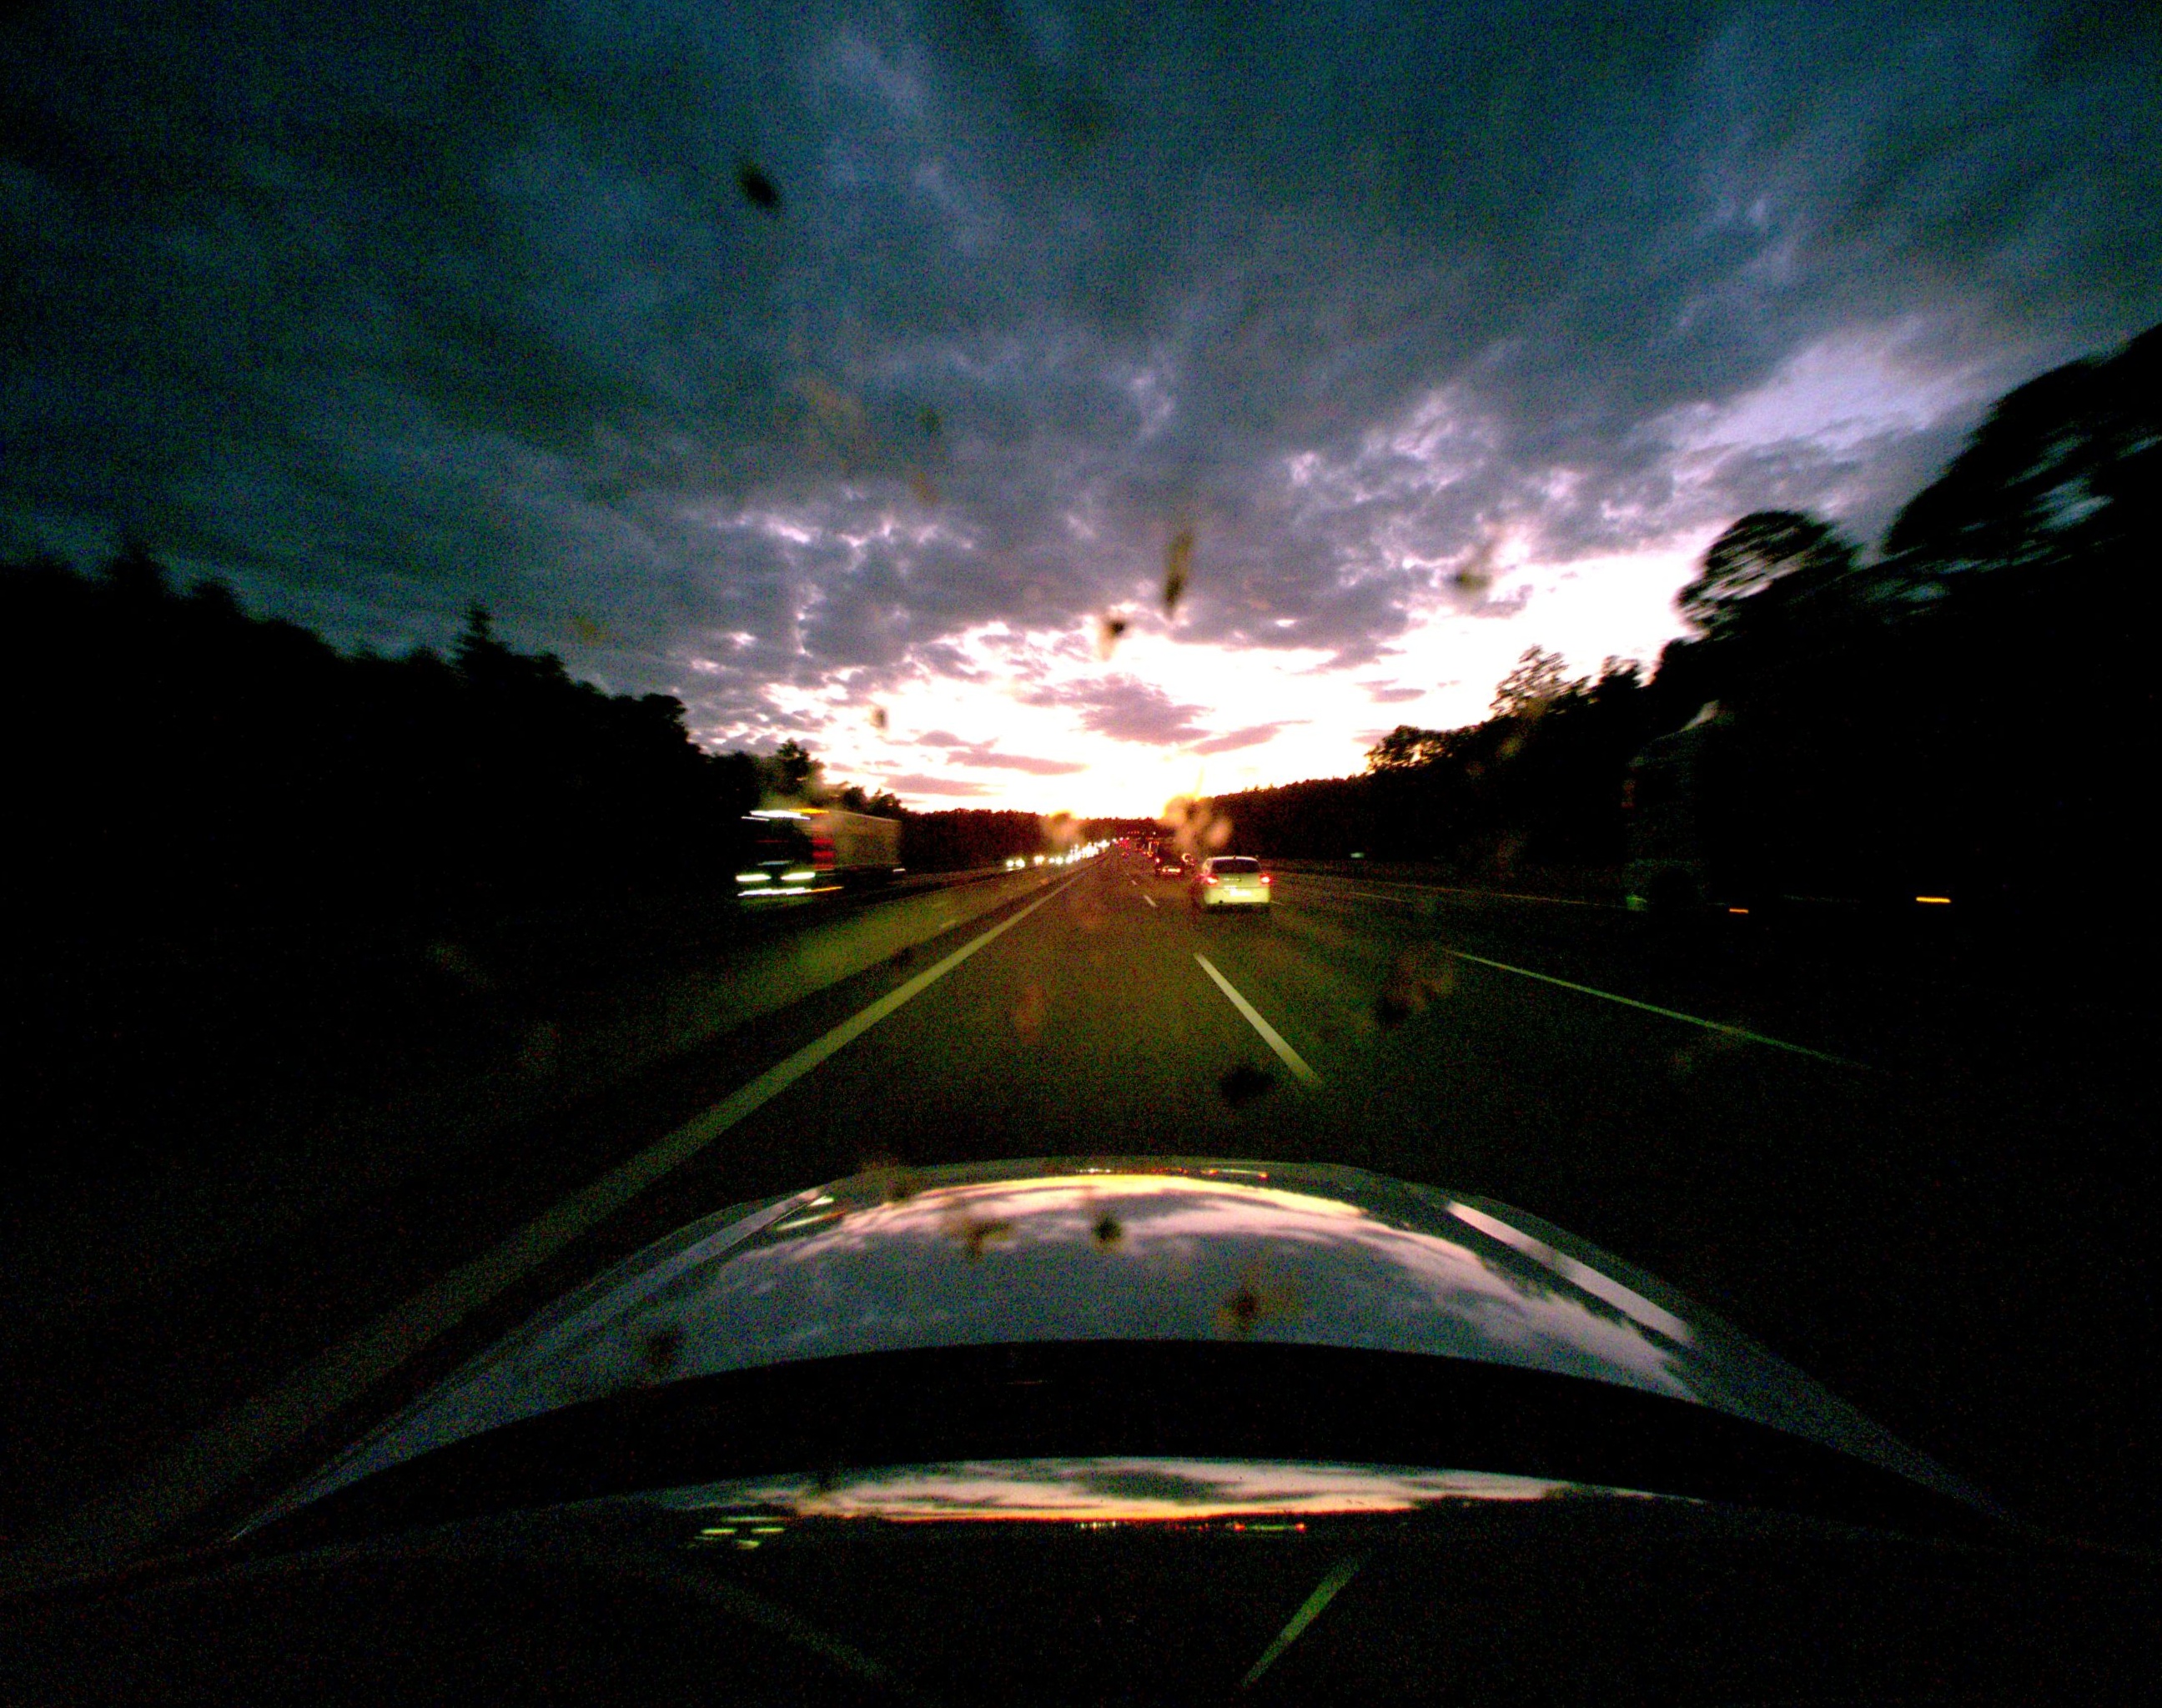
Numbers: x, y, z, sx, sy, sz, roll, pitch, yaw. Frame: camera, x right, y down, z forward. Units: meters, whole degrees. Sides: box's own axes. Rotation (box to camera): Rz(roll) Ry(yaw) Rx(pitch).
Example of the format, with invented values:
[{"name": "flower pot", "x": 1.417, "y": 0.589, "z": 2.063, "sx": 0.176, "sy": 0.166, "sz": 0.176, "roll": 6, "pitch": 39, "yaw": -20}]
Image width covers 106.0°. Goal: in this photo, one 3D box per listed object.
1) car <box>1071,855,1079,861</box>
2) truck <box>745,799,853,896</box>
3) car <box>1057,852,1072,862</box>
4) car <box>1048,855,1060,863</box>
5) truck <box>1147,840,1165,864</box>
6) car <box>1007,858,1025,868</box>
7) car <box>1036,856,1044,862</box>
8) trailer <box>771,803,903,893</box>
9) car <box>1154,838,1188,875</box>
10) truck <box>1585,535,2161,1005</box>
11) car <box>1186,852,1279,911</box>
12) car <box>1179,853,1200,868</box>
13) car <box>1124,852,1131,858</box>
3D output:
[{"name": "car", "x": -1.523, "y": 0.990, "z": 214.944, "sx": 1.829, "sy": 1.438, "sz": 4.003, "roll": -2, "pitch": 0, "yaw": 3}, {"name": "truck", "x": -13.046, "y": -0.267, "z": 38.308, "sx": 2.640, "sy": 4.131, "sz": 6.525, "roll": -1, "pitch": 0, "yaw": 1}, {"name": "car", "x": -2.490, "y": 0.438, "z": 124.446, "sx": 1.985, "sy": 1.424, "sz": 5.149, "roll": -2, "pitch": 0, "yaw": 3}, {"name": "car", "x": -5.048, "y": 1.002, "z": 152.787, "sx": 1.841, "sy": 1.414, "sz": 4.793, "roll": -2, "pitch": 0, "yaw": 2}, {"name": "truck", "x": 19.344, "y": -0.397, "z": 210.864, "sx": 4.132, "sy": 5.856, "sz": 14.307, "roll": -2, "pitch": 0, "yaw": 3}, {"name": "car", "x": -9.571, "y": 1.306, "z": 120.201, "sx": 1.905, "sy": 1.424, "sz": 4.749, "roll": -2, "pitch": 0, "yaw": 2}, {"name": "car", "x": -11.891, "y": 1.443, "z": 234.866, "sx": 1.829, "sy": 1.438, "sz": 4.002, "roll": -2, "pitch": 0, "yaw": 2}, {"name": "trailer", "x": -12.953, "y": -0.274, "z": 45.147, "sx": 2.640, "sy": 4.131, "sz": 14.328, "roll": -1, "pitch": 0, "yaw": 1}, {"name": "car", "x": 6.345, "y": 0.158, "z": 58.095, "sx": 2.156, "sy": 2.419, "sz": 5.571, "roll": -2, "pitch": 0, "yaw": 5}, {"name": "truck", "x": 11.009, "y": -0.758, "z": 10.302, "sx": 2.874, "sy": 4.100, "sz": 10.837, "roll": -1, "pitch": 0, "yaw": 2}, {"name": "car", "x": 3.995, "y": 0.702, "z": 22.048, "sx": 1.853, "sy": 1.442, "sz": 3.721, "roll": -1, "pitch": -1, "yaw": 1}, {"name": "car", "x": 11.308, "y": 0.667, "z": 84.959, "sx": 1.998, "sy": 1.538, "sz": 4.005, "roll": -2, "pitch": 0, "yaw": 4}, {"name": "car", "x": 13.054, "y": 0.233, "z": 230.620, "sx": 1.828, "sy": 1.570, "sz": 4.005, "roll": -2, "pitch": 0, "yaw": 5}]
